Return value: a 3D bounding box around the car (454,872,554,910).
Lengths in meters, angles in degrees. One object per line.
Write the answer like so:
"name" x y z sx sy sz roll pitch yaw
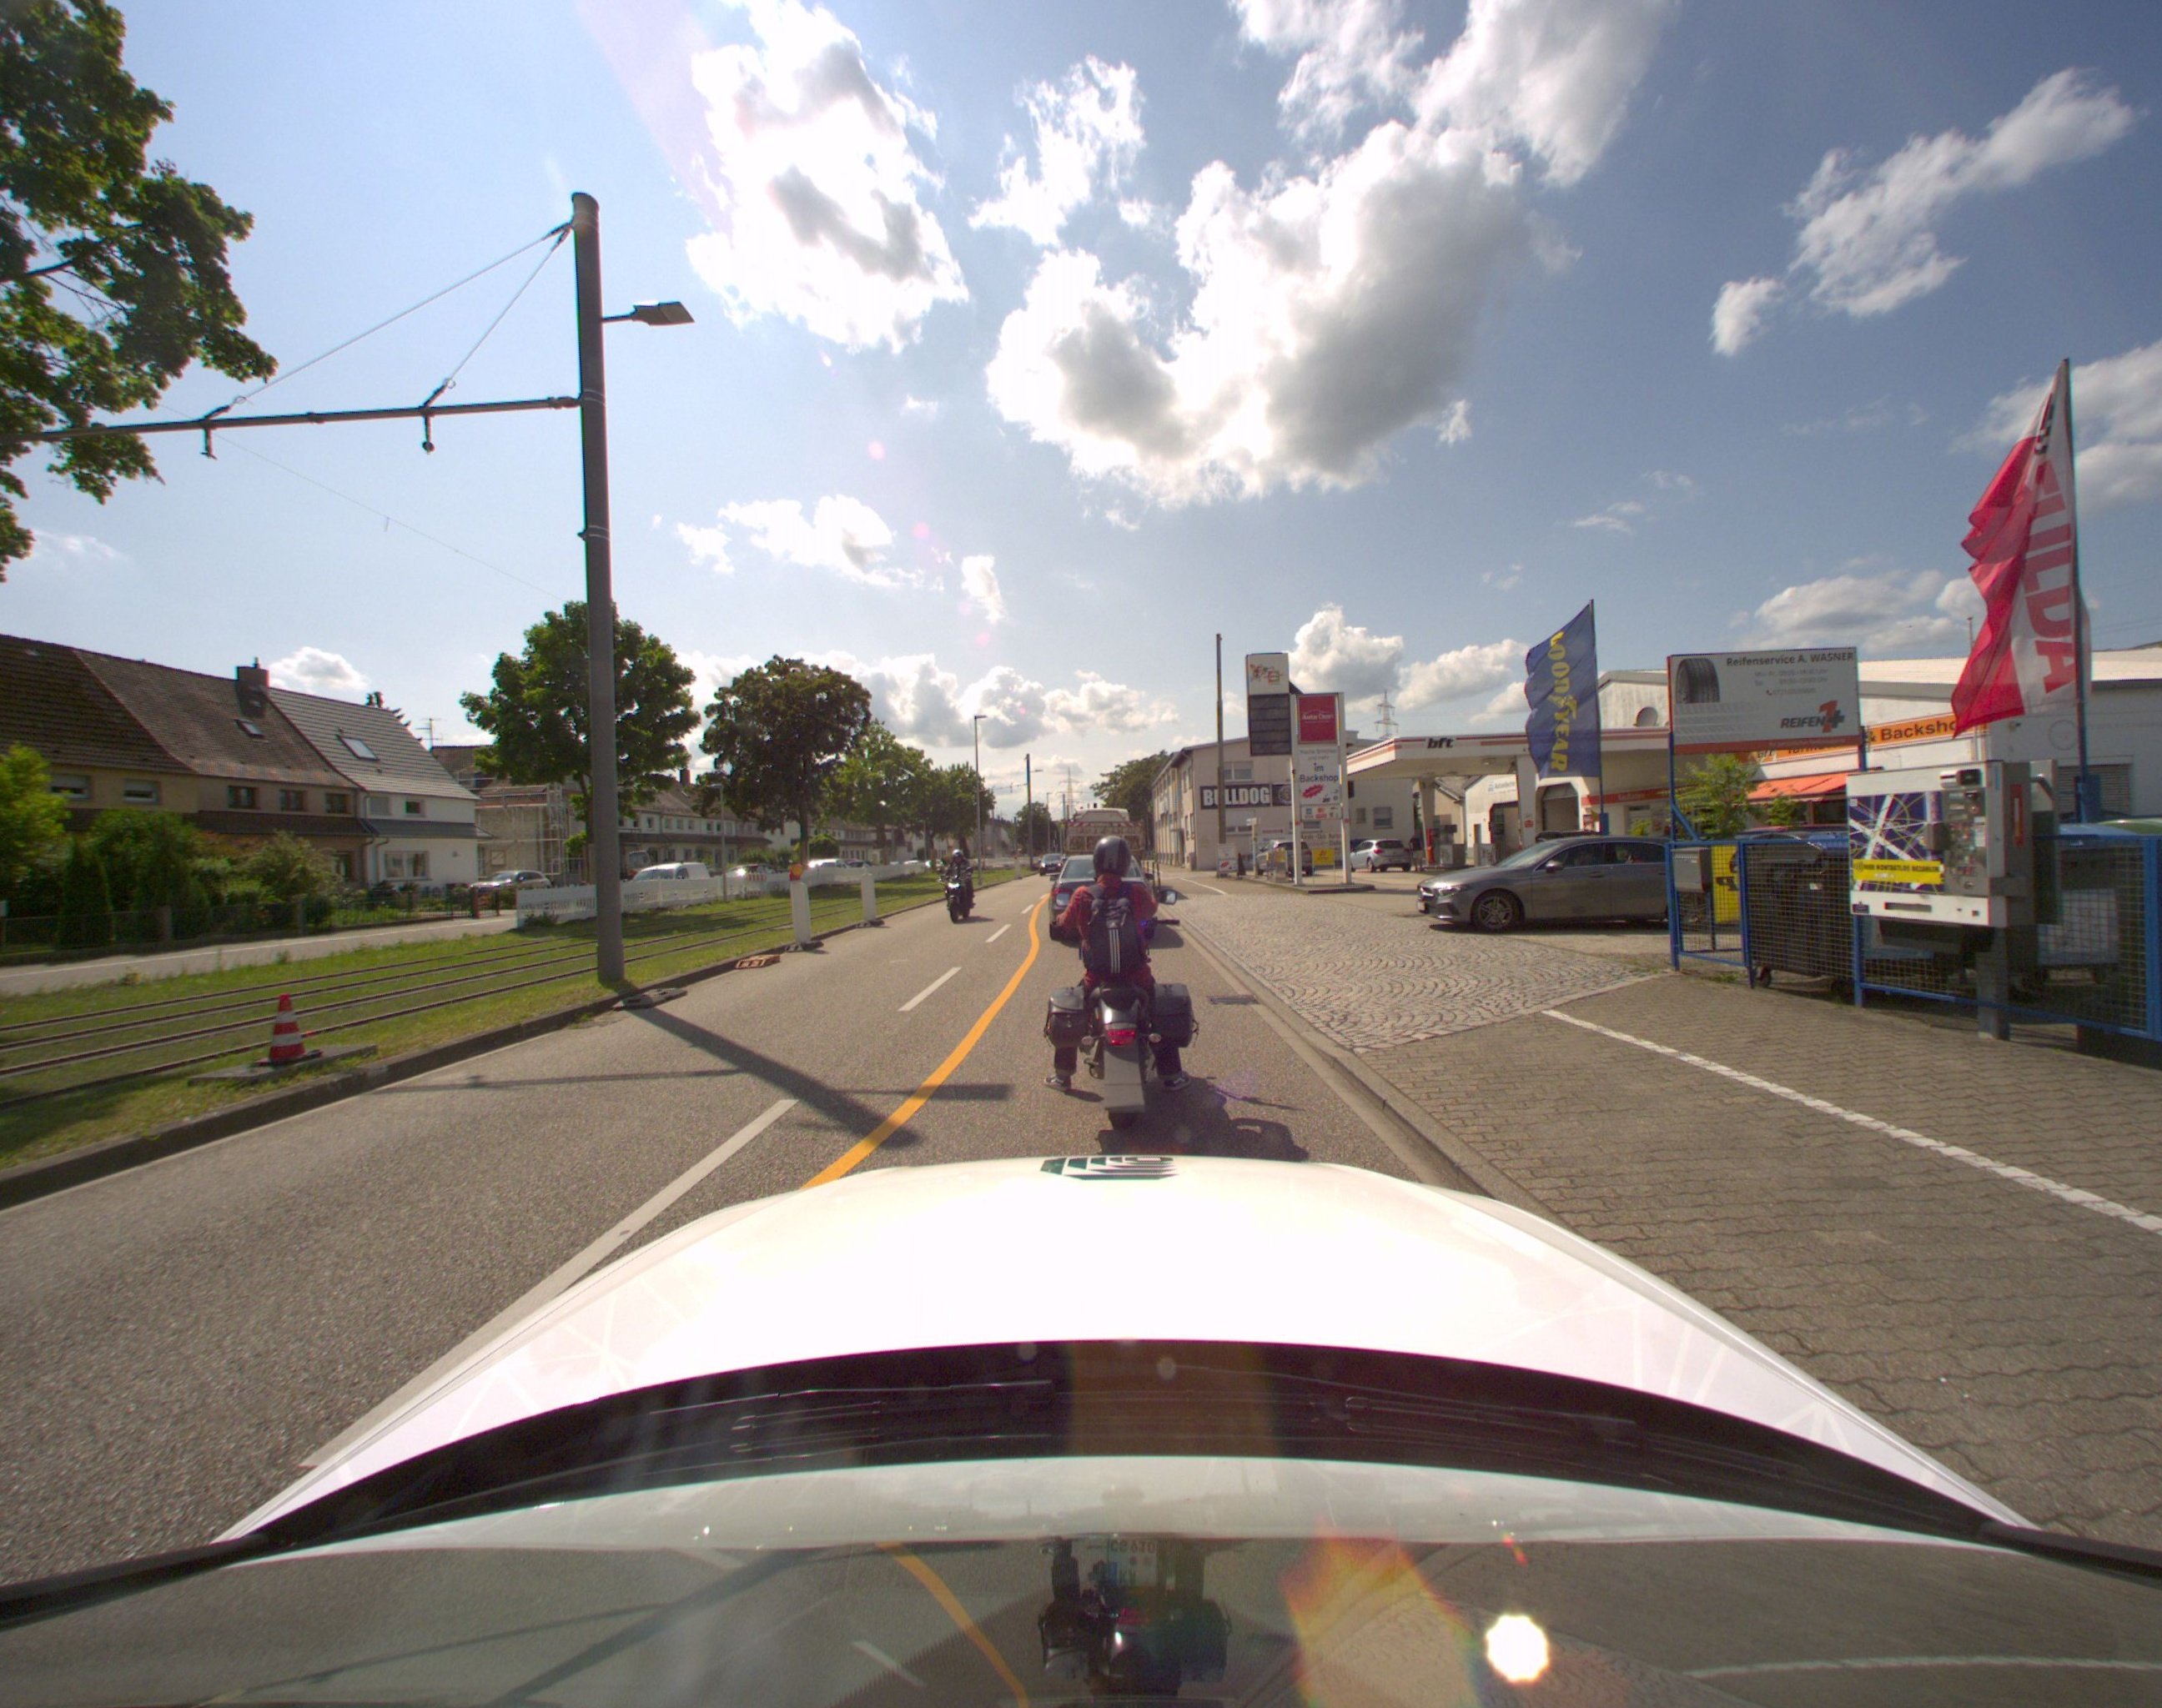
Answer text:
"car" -27.432 1.724 38.905 1.769 1.519 4.002 -2 0 2

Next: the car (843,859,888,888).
"car" -14.799 1.335 56.049 1.769 1.805 4.130 -2 0 2

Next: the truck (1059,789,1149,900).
"truck" 0.847 -0.305 29.081 2.628 3.296 8.059 -2 0 2

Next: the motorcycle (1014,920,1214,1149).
"motorcycle" 0.208 1.020 5.455 0.975 0.897 2.654 -2 0 2

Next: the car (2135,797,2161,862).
"car" 26.530 -0.639 18.011 4.180 1.463 1.587 -2 0 2

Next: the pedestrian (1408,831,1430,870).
"pedestrian" 14.656 -0.133 35.328 0.701 1.656 0.551 -2 0 37

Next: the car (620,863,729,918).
"car" -15.415 1.312 31.166 1.769 1.821 4.366 -2 0 2

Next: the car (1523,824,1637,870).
"car" 18.124 -0.249 29.794 1.800 1.503 3.833 -2 0 0

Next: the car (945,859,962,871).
"car" -19.626 1.640 125.928 1.769 1.722 4.130 -2 0 2

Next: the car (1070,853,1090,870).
"car" -0.116 0.719 83.801 1.816 1.602 4.326 -3 0 2

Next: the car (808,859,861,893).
"car" -15.059 1.327 49.872 1.769 1.867 4.130 -2 0 2

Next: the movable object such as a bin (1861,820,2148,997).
"movable object such as a bin" 8.087 0.441 7.228 1.104 1.396 1.244 -2 0 1

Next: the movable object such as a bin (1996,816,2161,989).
"movable object such as a bin" 9.490 0.370 7.140 1.397 1.396 1.338 -2 0 1

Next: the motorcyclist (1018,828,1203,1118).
"motorcyclist" 0.183 0.671 5.151 0.975 1.602 1.088 -2 0 1

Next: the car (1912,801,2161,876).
"car" 21.526 -0.343 18.175 4.180 1.463 1.587 -2 0 2

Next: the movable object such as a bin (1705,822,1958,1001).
"movable object such as a bin" 6.693 0.474 7.369 1.104 1.436 1.244 -2 0 1

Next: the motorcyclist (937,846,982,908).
"motorcyclist" -2.834 0.522 19.077 0.866 1.378 0.800 -2 0 -1

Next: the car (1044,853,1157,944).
"car" 0.381 0.716 15.231 1.816 1.452 4.002 0 0 2

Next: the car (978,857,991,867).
"car" -19.087 1.539 161.365 1.769 1.722 4.252 -2 0 2

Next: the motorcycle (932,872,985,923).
"motorcycle" -2.822 0.980 19.005 0.866 1.021 2.244 -2 0 -1

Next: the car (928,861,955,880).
"car" -13.723 1.634 80.465 1.769 1.722 4.130 -2 0 2

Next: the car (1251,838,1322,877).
"car" 9.121 0.149 36.463 1.665 1.562 4.235 -2 0 -6

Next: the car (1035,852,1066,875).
"car" -2.089 0.617 56.675 1.816 1.452 4.326 -3 0 2

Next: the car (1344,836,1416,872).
"car" 13.481 -0.009 36.929 1.800 1.503 3.832 -2 0 -1

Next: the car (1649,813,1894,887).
"car" 15.778 -0.091 18.767 4.180 1.463 1.587 -2 0 2

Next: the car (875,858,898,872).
"car" -25.154 1.405 105.214 1.769 1.722 4.130 -2 0 2

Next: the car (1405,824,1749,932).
"car" 7.512 0.363 12.733 4.247 1.415 1.678 -2 0 9

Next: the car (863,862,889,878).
"car" -24.382 1.842 97.053 1.769 1.722 4.130 -2 0 2

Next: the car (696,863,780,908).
"car" -15.403 1.384 36.809 1.769 1.774 4.230 -2 0 2
